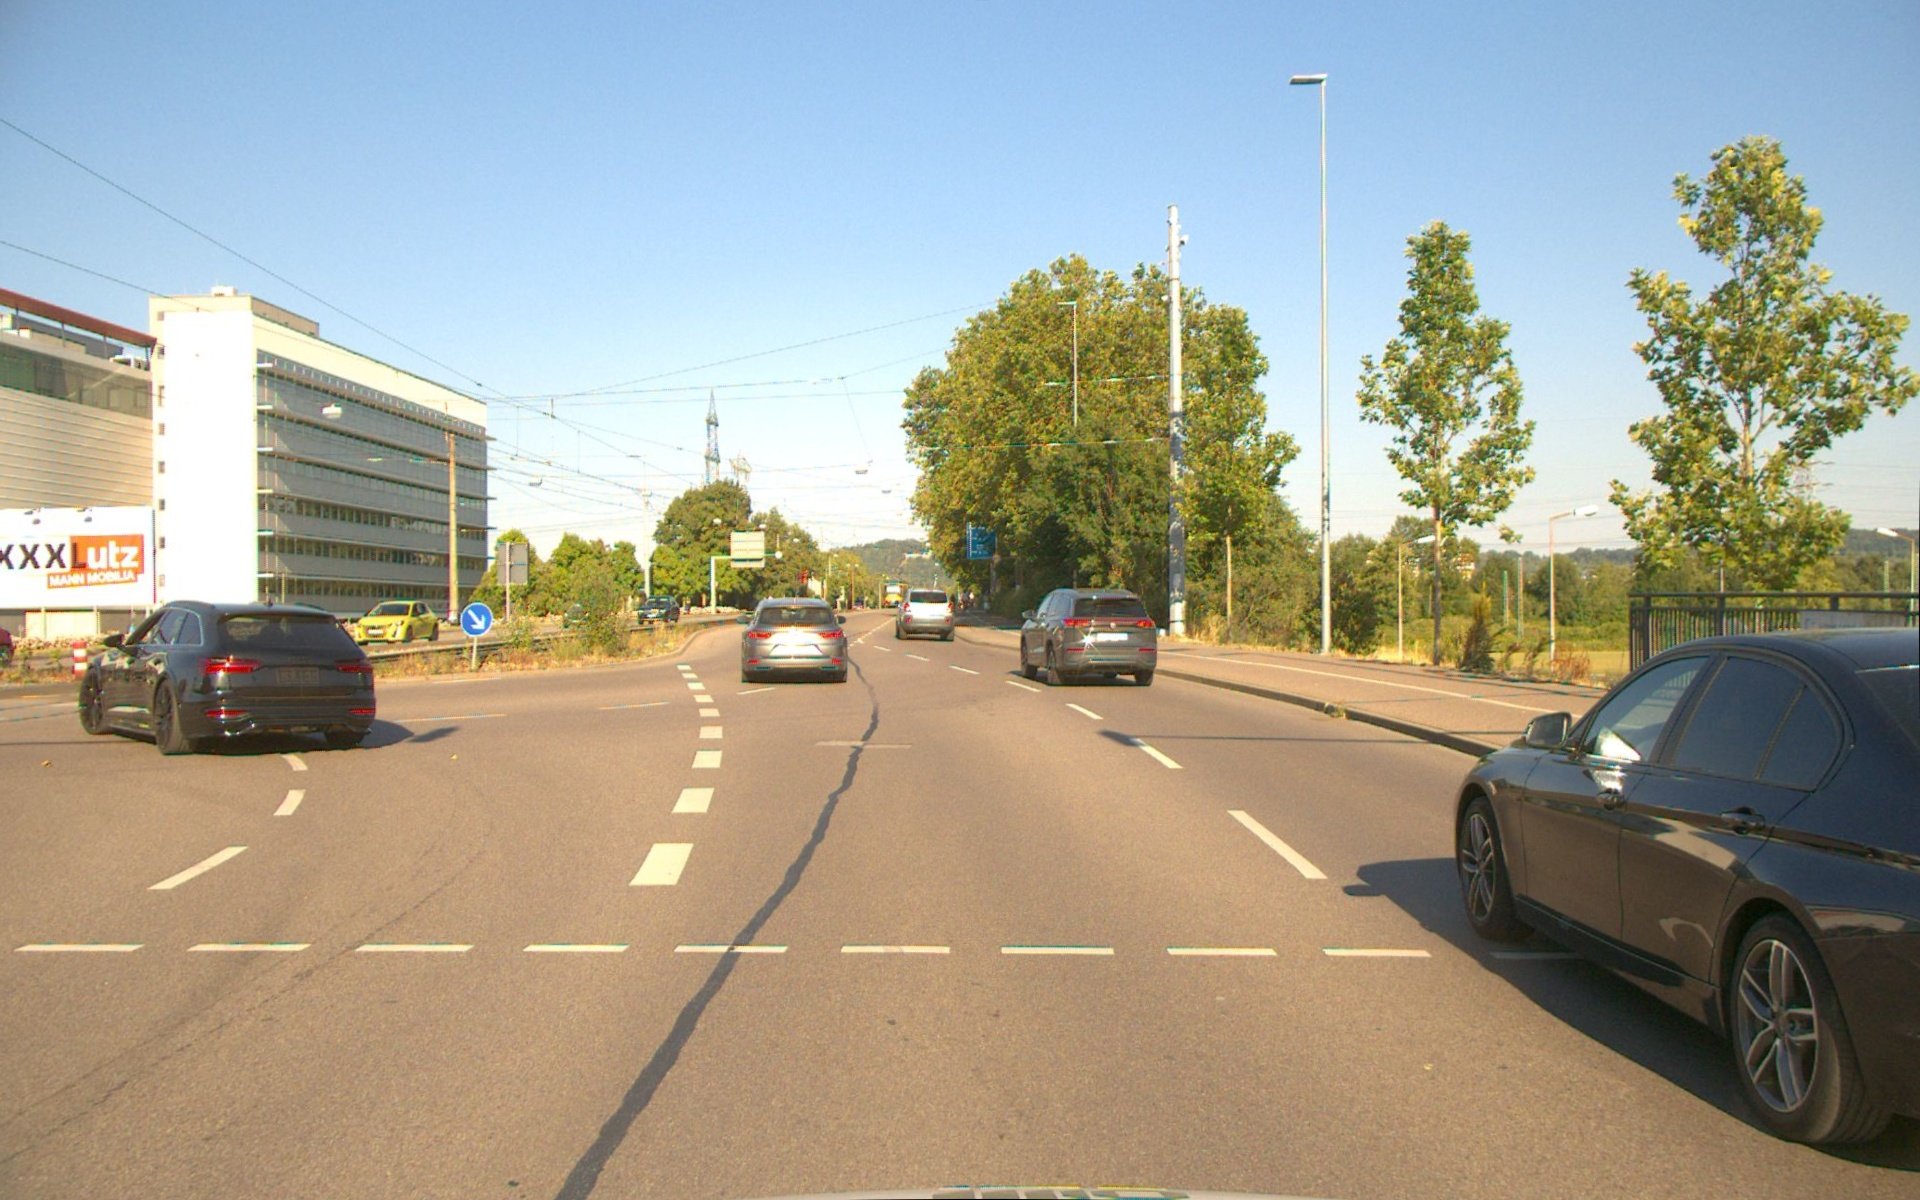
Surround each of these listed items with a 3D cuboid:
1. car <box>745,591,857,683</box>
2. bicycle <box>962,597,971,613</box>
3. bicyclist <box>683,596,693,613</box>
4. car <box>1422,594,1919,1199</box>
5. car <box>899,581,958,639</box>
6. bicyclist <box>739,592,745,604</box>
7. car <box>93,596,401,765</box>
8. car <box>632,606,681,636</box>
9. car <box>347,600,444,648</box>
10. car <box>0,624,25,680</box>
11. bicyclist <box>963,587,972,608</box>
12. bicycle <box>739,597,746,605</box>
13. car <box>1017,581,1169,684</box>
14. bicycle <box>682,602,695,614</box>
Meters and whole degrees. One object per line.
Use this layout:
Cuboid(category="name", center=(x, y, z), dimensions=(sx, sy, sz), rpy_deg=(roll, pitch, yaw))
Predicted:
Cuboid(category="car", center=(-2.782, 0.604, 29.766), dimensions=(1.829, 1.493, 4.662), rpy_deg=(1, 0, -4))
Cuboid(category="bicycle", center=(0.463, 0.382, 121.061), dimensions=(0.609, 1.140, 1.813), rpy_deg=(-2, 0, 0))
Cuboid(category="bicyclist", center=(-26.735, 0.403, 162.607), dimensions=(0.647, 1.652, 0.802), rpy_deg=(2, 0, 9))
Cuboid(category="car", center=(3.223, 0.736, 5.988), dimensions=(1.827, 1.493, 4.586), rpy_deg=(1, 0, 0))
Cuboid(category="car", center=(-1.046, 0.316, 55.810), dimensions=(1.845, 1.827, 3.999), rpy_deg=(2, 0, -1))
Cuboid(category="bicyclist", center=(-27.578, -0.259, 209.636), dimensions=(0.612, 1.398, 0.880), rpy_deg=(2, 0, 0))
Cuboid(category="car", center=(-7.377, 0.710, 16.897), dimensions=(1.903, 1.483, 4.034), rpy_deg=(0, 0, -39))
Cuboid(category="car", center=(-18.075, 1.229, 98.656), dimensions=(1.952, 1.684, 4.659), rpy_deg=(-1, 0, 1))
Cuboid(category="car", center=(-18.905, 0.773, 55.560), dimensions=(1.747, 1.473, 4.108), rpy_deg=(-2, 0, 1))
Cuboid(category="car", center=(-27.208, 1.475, 43.919), dimensions=(1.894, 1.502, 4.135), rpy_deg=(-3, 0, 10))
Cuboid(category="bicyclist", center=(0.553, -0.164, 121.110), dimensions=(0.671, 1.535, 0.890), rpy_deg=(0, 0, 0))
Cuboid(category="bicycle", center=(-27.586, 0.115, 209.697), dimensions=(0.612, 1.077, 1.703), rpy_deg=(2, 0, 0))
Cuboid(category="car", center=(2.284, 0.519, 29.521), dimensions=(1.809, 1.690, 4.432), rpy_deg=(1, 0, -8))
Cuboid(category="bicycle", center=(-26.728, 0.793, 162.716), dimensions=(0.647, 1.171, 2.023), rpy_deg=(2, 0, 9))
